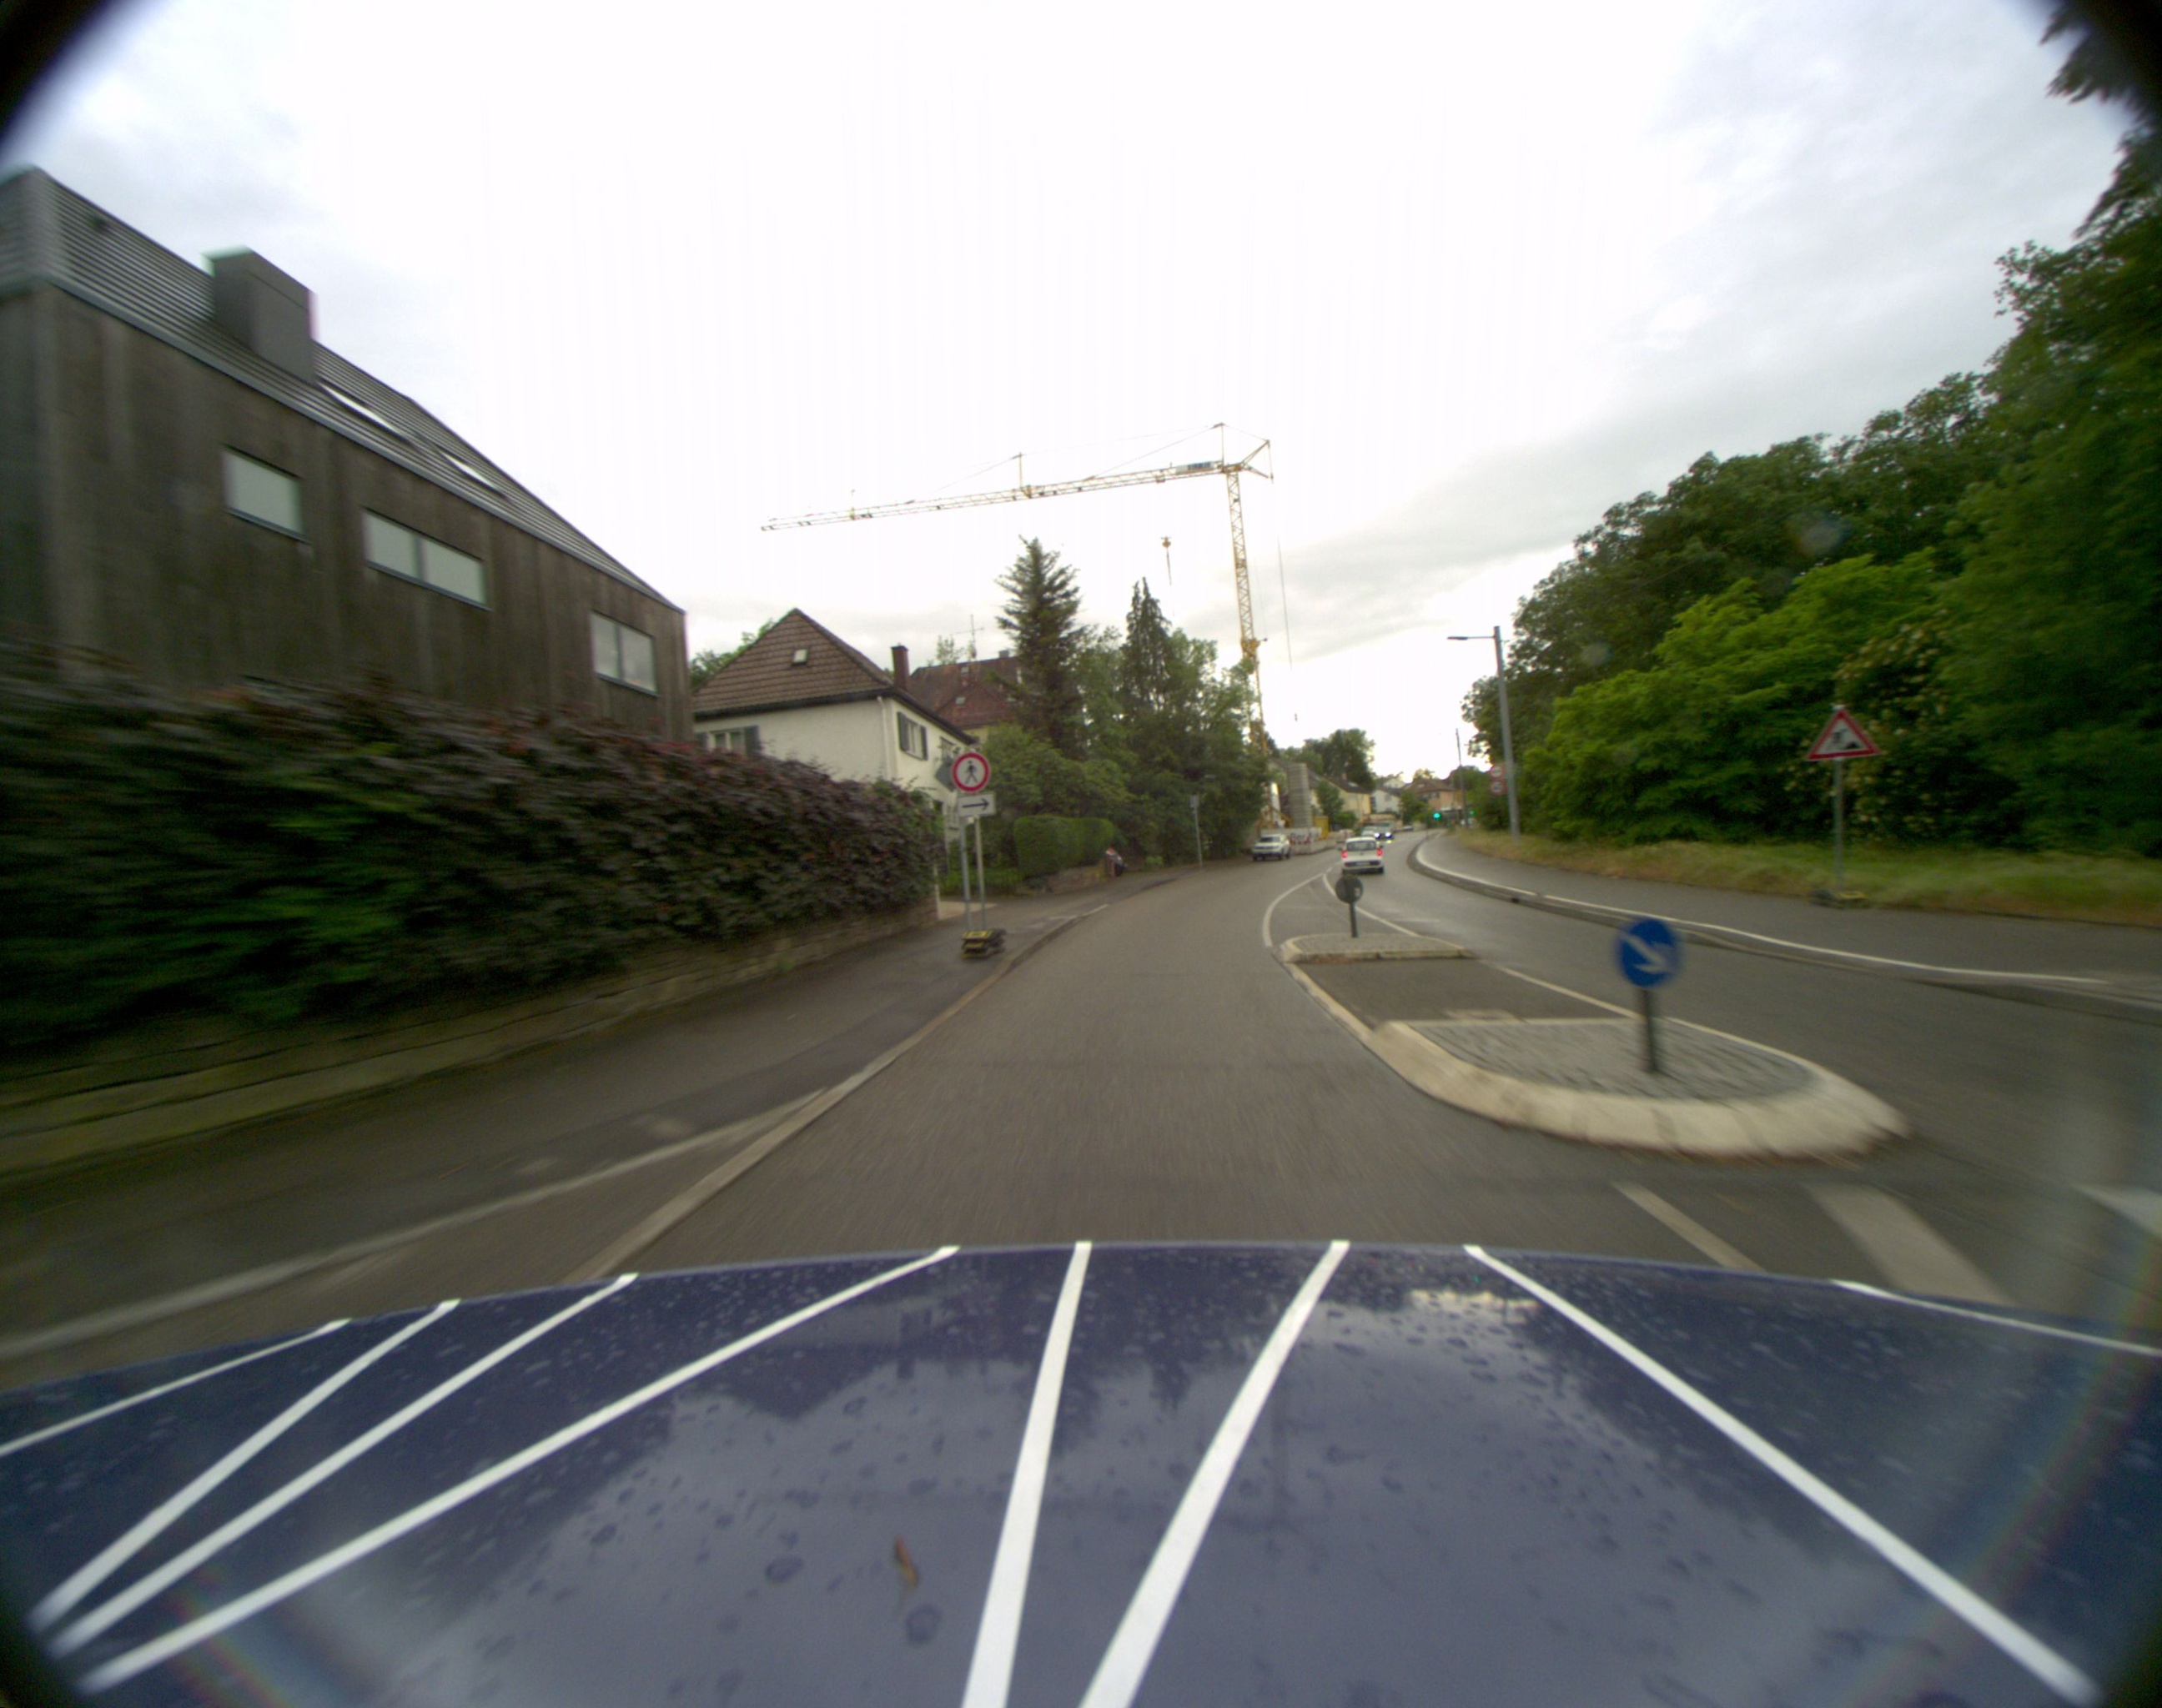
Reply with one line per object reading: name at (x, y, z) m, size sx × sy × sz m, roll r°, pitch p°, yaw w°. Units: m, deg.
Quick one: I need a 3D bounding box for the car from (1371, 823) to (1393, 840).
car at (33.310, -2.455, 84.021) m, size 1.995 × 1.707 × 4.006 m, roll -1°, pitch 0°, yaw 24°

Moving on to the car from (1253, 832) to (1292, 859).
car at (12.173, -0.558, 48.259) m, size 1.828 × 1.586 × 4.005 m, roll -1°, pitch 2°, yaw 22°

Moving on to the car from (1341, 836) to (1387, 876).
car at (11.696, 0.026, 31.472) m, size 1.634 × 1.446 × 3.806 m, roll -3°, pitch 1°, yaw 20°

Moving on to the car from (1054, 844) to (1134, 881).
car at (0.651, 0.410, 36.840) m, size 3.482 × 1.404 × 1.429 m, roll -6°, pitch 0°, yaw 15°

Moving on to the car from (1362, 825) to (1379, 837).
car at (38.078, -3.056, 99.966) m, size 1.734 × 1.481 × 4.005 m, roll -1°, pitch 2°, yaw 25°
